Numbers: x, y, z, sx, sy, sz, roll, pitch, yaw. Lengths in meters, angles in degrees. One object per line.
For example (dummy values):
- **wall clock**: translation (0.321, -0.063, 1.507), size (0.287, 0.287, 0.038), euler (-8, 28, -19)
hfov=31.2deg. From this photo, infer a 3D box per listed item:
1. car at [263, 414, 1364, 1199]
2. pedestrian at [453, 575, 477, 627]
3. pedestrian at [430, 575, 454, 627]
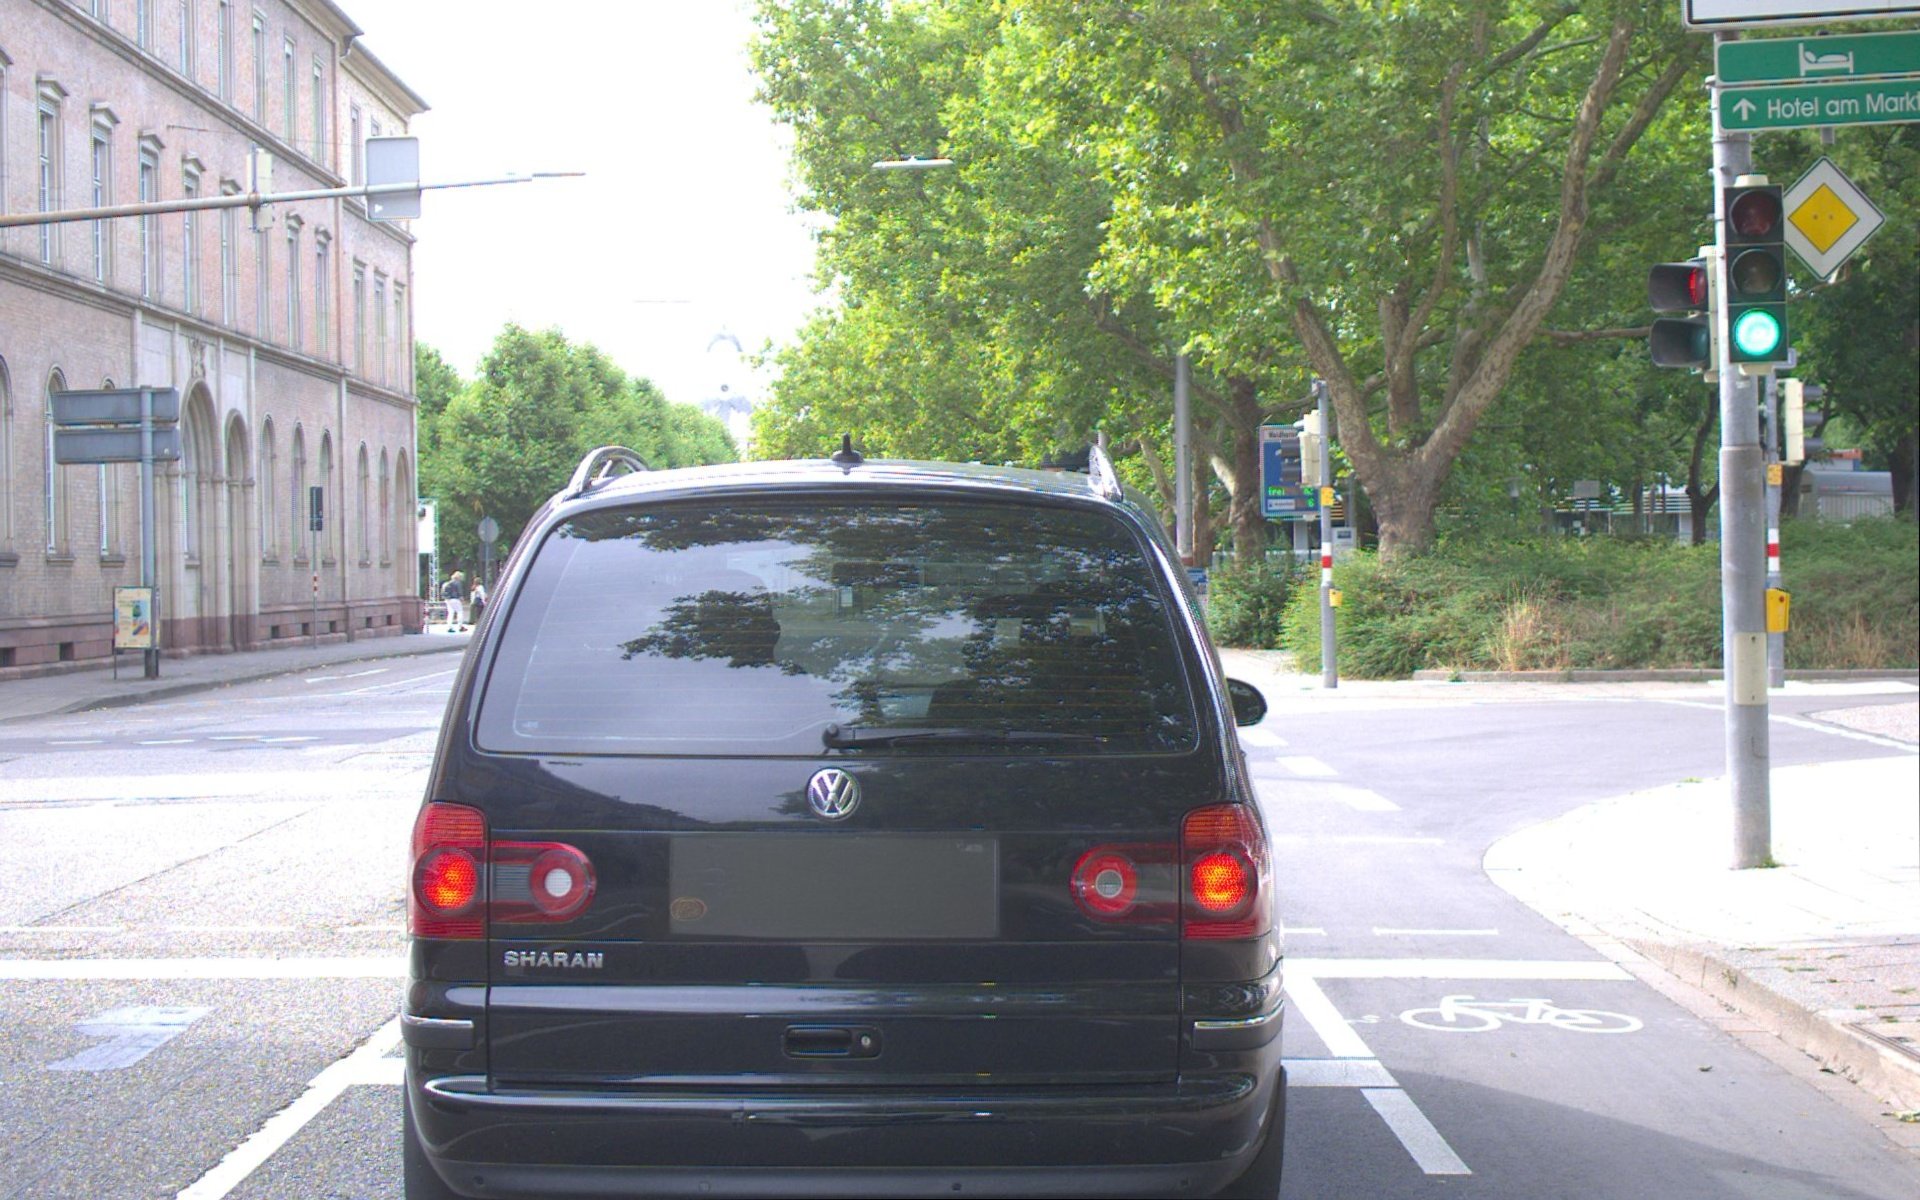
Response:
- **car**: translation (-0.303, 0.523, 8.198), size (1.874, 1.739, 4.574), euler (-1, 1, -1)
- **pedestrian**: translation (-13.946, 0.026, 96.856), size (0.557, 1.430, 0.579), euler (-1, 1, -1)
- **pedestrian**: translation (-14.580, 0.028, 96.714), size (0.557, 1.430, 0.579), euler (-1, 1, -1)
